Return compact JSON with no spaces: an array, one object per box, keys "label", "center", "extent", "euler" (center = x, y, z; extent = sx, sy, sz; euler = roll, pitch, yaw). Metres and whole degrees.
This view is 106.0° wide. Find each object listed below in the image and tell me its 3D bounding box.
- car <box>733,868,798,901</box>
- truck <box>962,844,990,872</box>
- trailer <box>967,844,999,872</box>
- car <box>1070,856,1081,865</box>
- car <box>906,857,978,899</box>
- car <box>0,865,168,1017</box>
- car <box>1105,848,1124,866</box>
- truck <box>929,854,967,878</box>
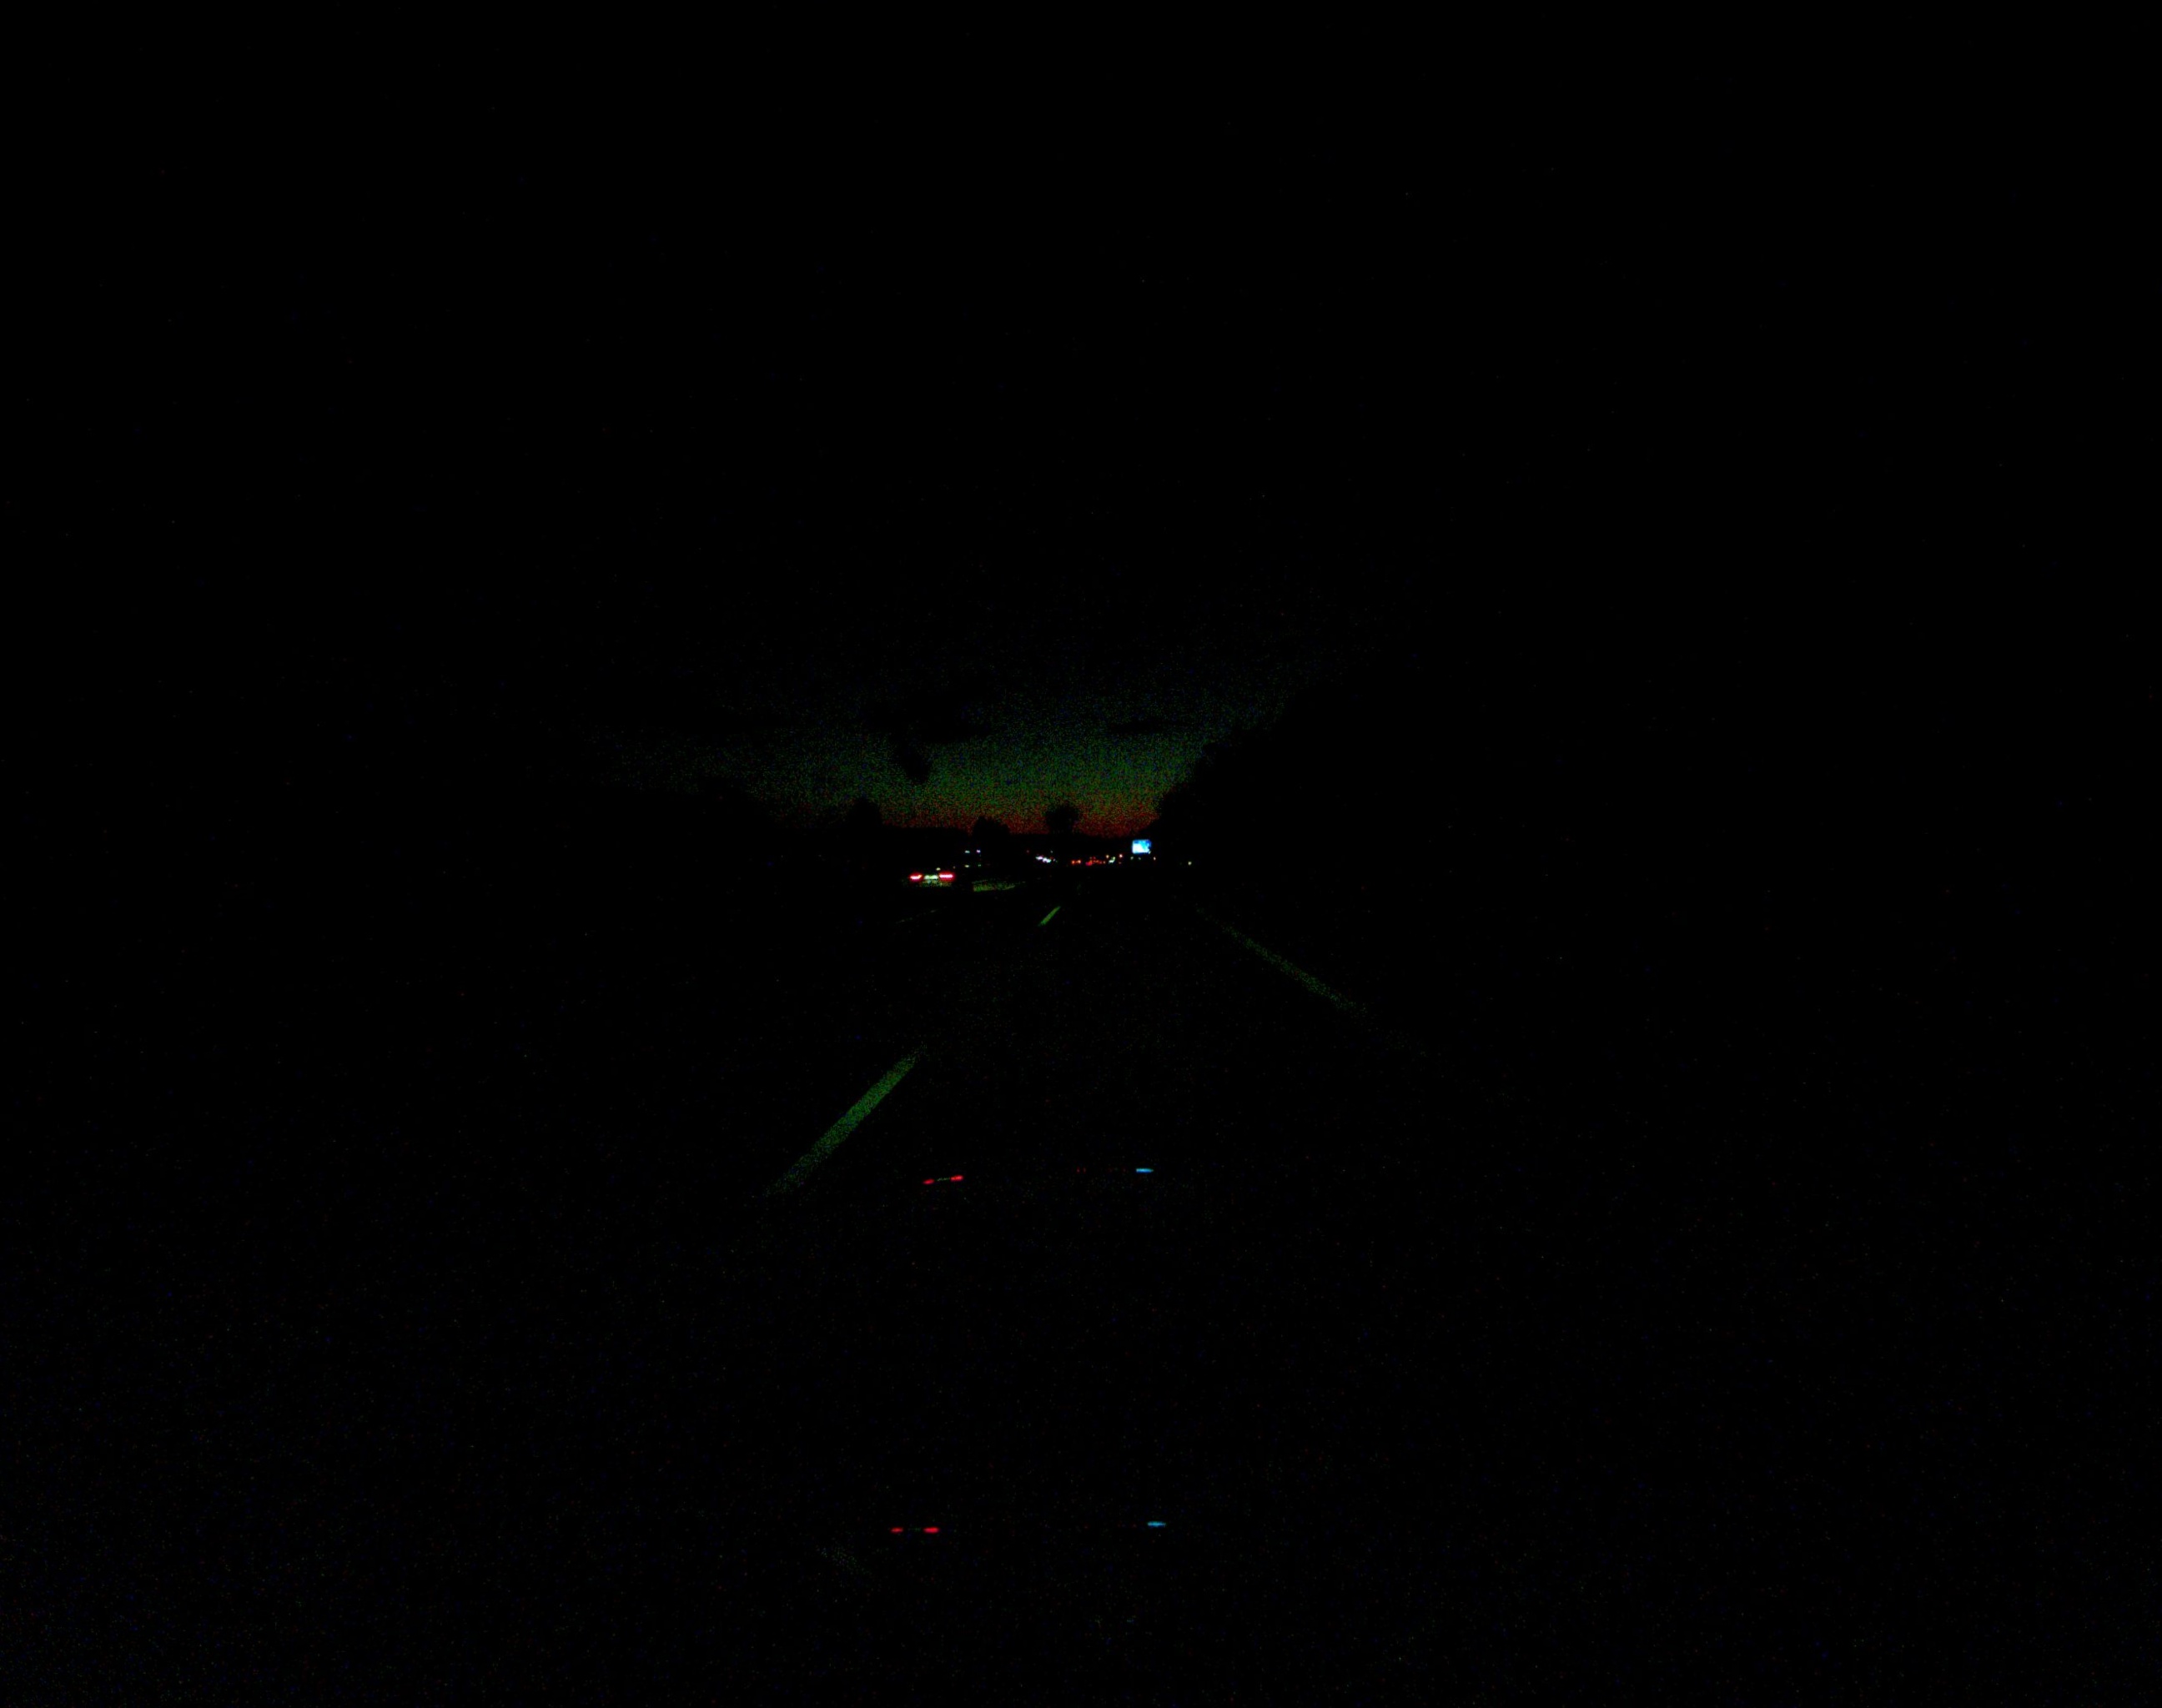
[{"label":"car","center":[-20.520,1.929,53.145],"extent":[2.188,1.955,4.766],"euler":[-1,0,2]},{"label":"truck","center":[-17.459,0.694,135.912],"extent":[3.312,4.433,6.711],"euler":[-3,0,2]},{"label":"trailer","center":[-17.161,0.701,143.723],"extent":[3.312,4.433,14.031],"euler":[-3,0,2]},{"label":"car","center":[-1.165,1.405,176.188],"extent":[2.188,1.955,4.636],"euler":[-1,0,2]},{"label":"car","center":[-5.502,0.898,32.920],"extent":[1.773,1.487,5.256],"euler":[-1,0,2]},{"label":"car","center":[-15.291,1.165,10.223],"extent":[2.188,1.955,4.766],"euler":[-1,0,2]},{"label":"car","center":[4.077,0.365,100.135],"extent":[2.189,1.955,4.764],"euler":[-4,0,1]},{"label":"truck","center":[-15.765,1.341,97.264],"extent":[2.861,2.641,7.889],"euler":[-2,0,2]}]
